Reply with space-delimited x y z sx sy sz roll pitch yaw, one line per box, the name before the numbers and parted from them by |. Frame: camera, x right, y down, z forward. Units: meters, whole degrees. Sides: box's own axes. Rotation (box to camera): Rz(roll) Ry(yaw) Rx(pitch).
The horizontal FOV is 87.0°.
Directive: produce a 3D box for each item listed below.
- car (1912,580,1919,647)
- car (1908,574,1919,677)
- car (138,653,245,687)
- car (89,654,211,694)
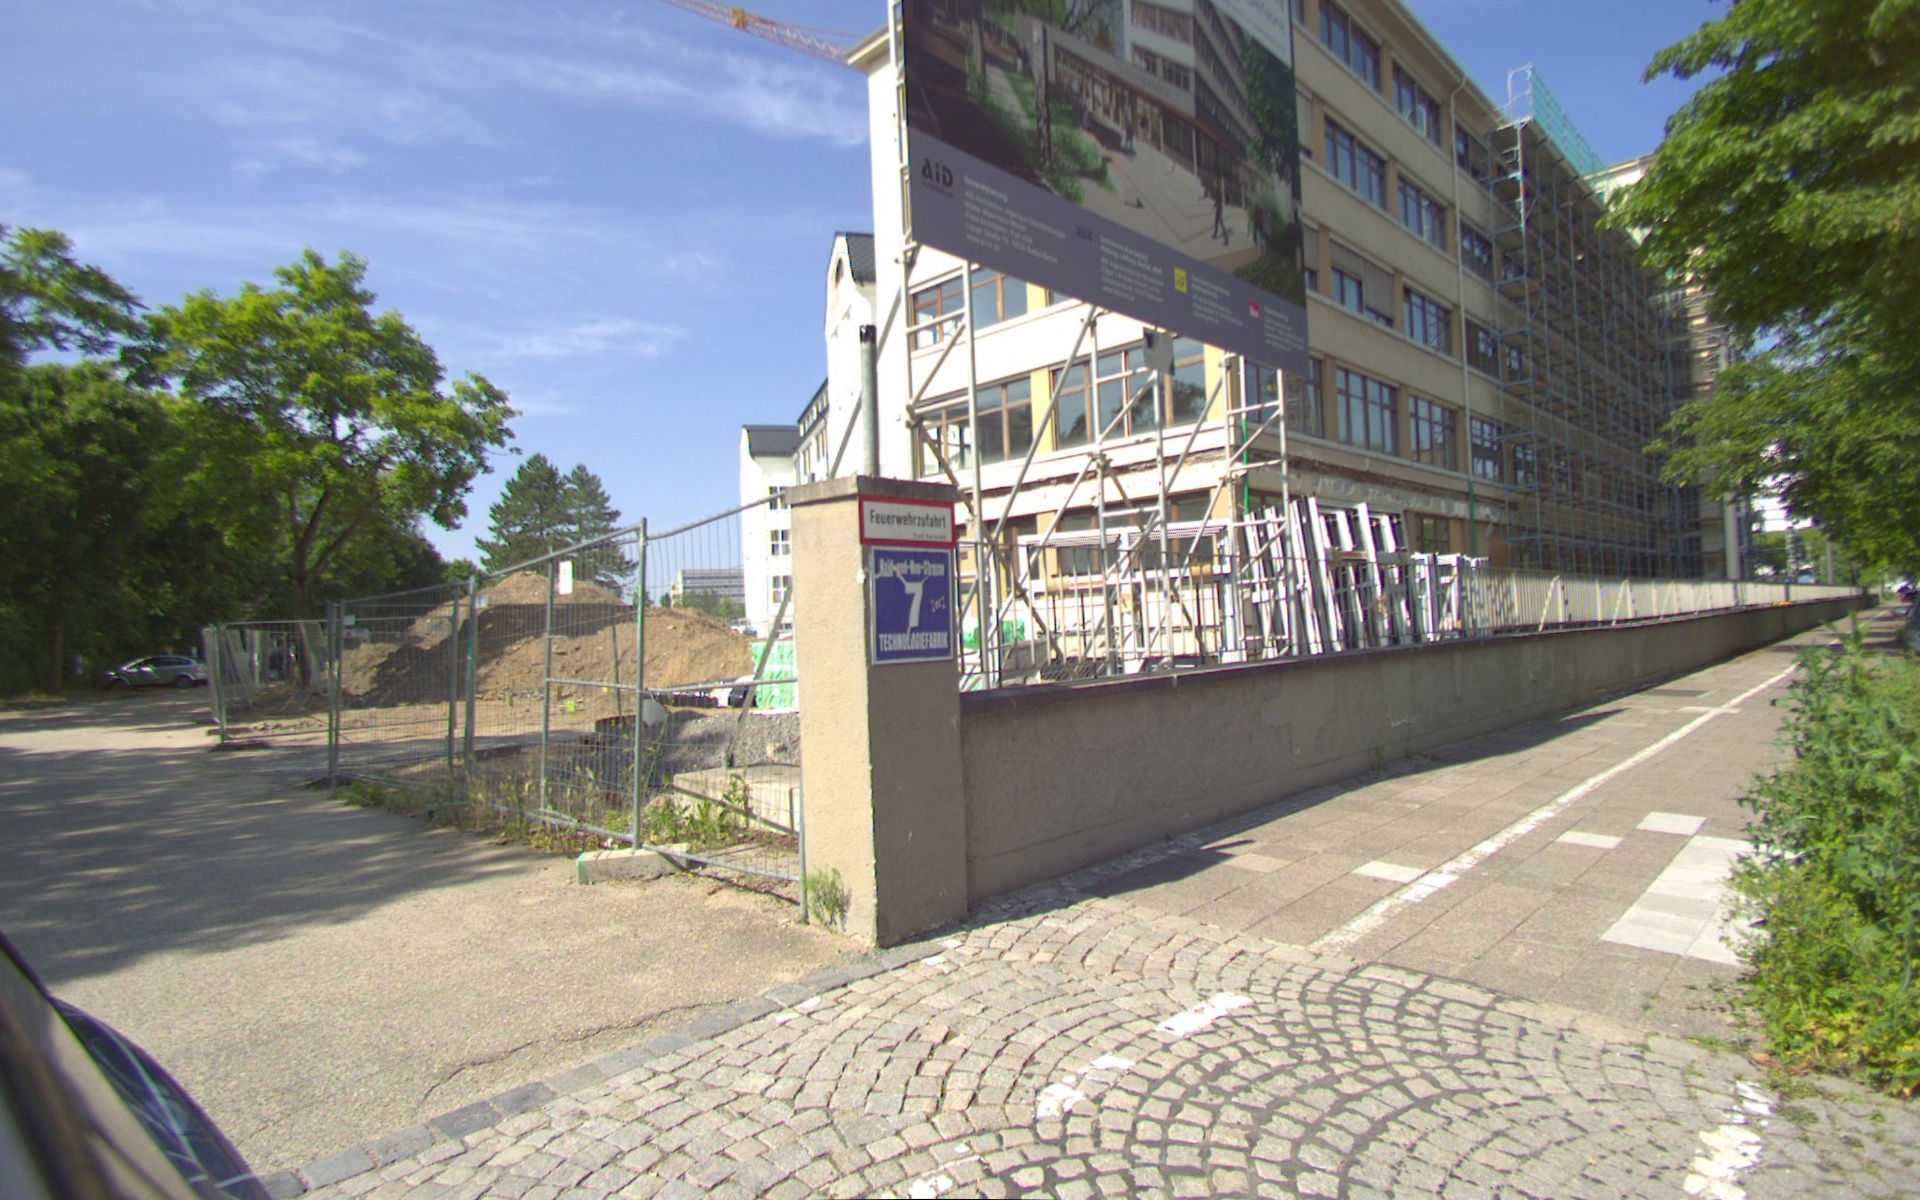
car | 22.661 0.235 22.694 1.821 1.464 3.943 -4 -2 43
car | 16.010 0.317 15.691 1.821 1.506 4.049 -4 -2 43
car | -38.434 3.475 50.731 3.931 1.453 2.006 -2 -2 -25
car | -36.464 3.300 45.703 3.931 1.519 2.006 -2 -2 -25
